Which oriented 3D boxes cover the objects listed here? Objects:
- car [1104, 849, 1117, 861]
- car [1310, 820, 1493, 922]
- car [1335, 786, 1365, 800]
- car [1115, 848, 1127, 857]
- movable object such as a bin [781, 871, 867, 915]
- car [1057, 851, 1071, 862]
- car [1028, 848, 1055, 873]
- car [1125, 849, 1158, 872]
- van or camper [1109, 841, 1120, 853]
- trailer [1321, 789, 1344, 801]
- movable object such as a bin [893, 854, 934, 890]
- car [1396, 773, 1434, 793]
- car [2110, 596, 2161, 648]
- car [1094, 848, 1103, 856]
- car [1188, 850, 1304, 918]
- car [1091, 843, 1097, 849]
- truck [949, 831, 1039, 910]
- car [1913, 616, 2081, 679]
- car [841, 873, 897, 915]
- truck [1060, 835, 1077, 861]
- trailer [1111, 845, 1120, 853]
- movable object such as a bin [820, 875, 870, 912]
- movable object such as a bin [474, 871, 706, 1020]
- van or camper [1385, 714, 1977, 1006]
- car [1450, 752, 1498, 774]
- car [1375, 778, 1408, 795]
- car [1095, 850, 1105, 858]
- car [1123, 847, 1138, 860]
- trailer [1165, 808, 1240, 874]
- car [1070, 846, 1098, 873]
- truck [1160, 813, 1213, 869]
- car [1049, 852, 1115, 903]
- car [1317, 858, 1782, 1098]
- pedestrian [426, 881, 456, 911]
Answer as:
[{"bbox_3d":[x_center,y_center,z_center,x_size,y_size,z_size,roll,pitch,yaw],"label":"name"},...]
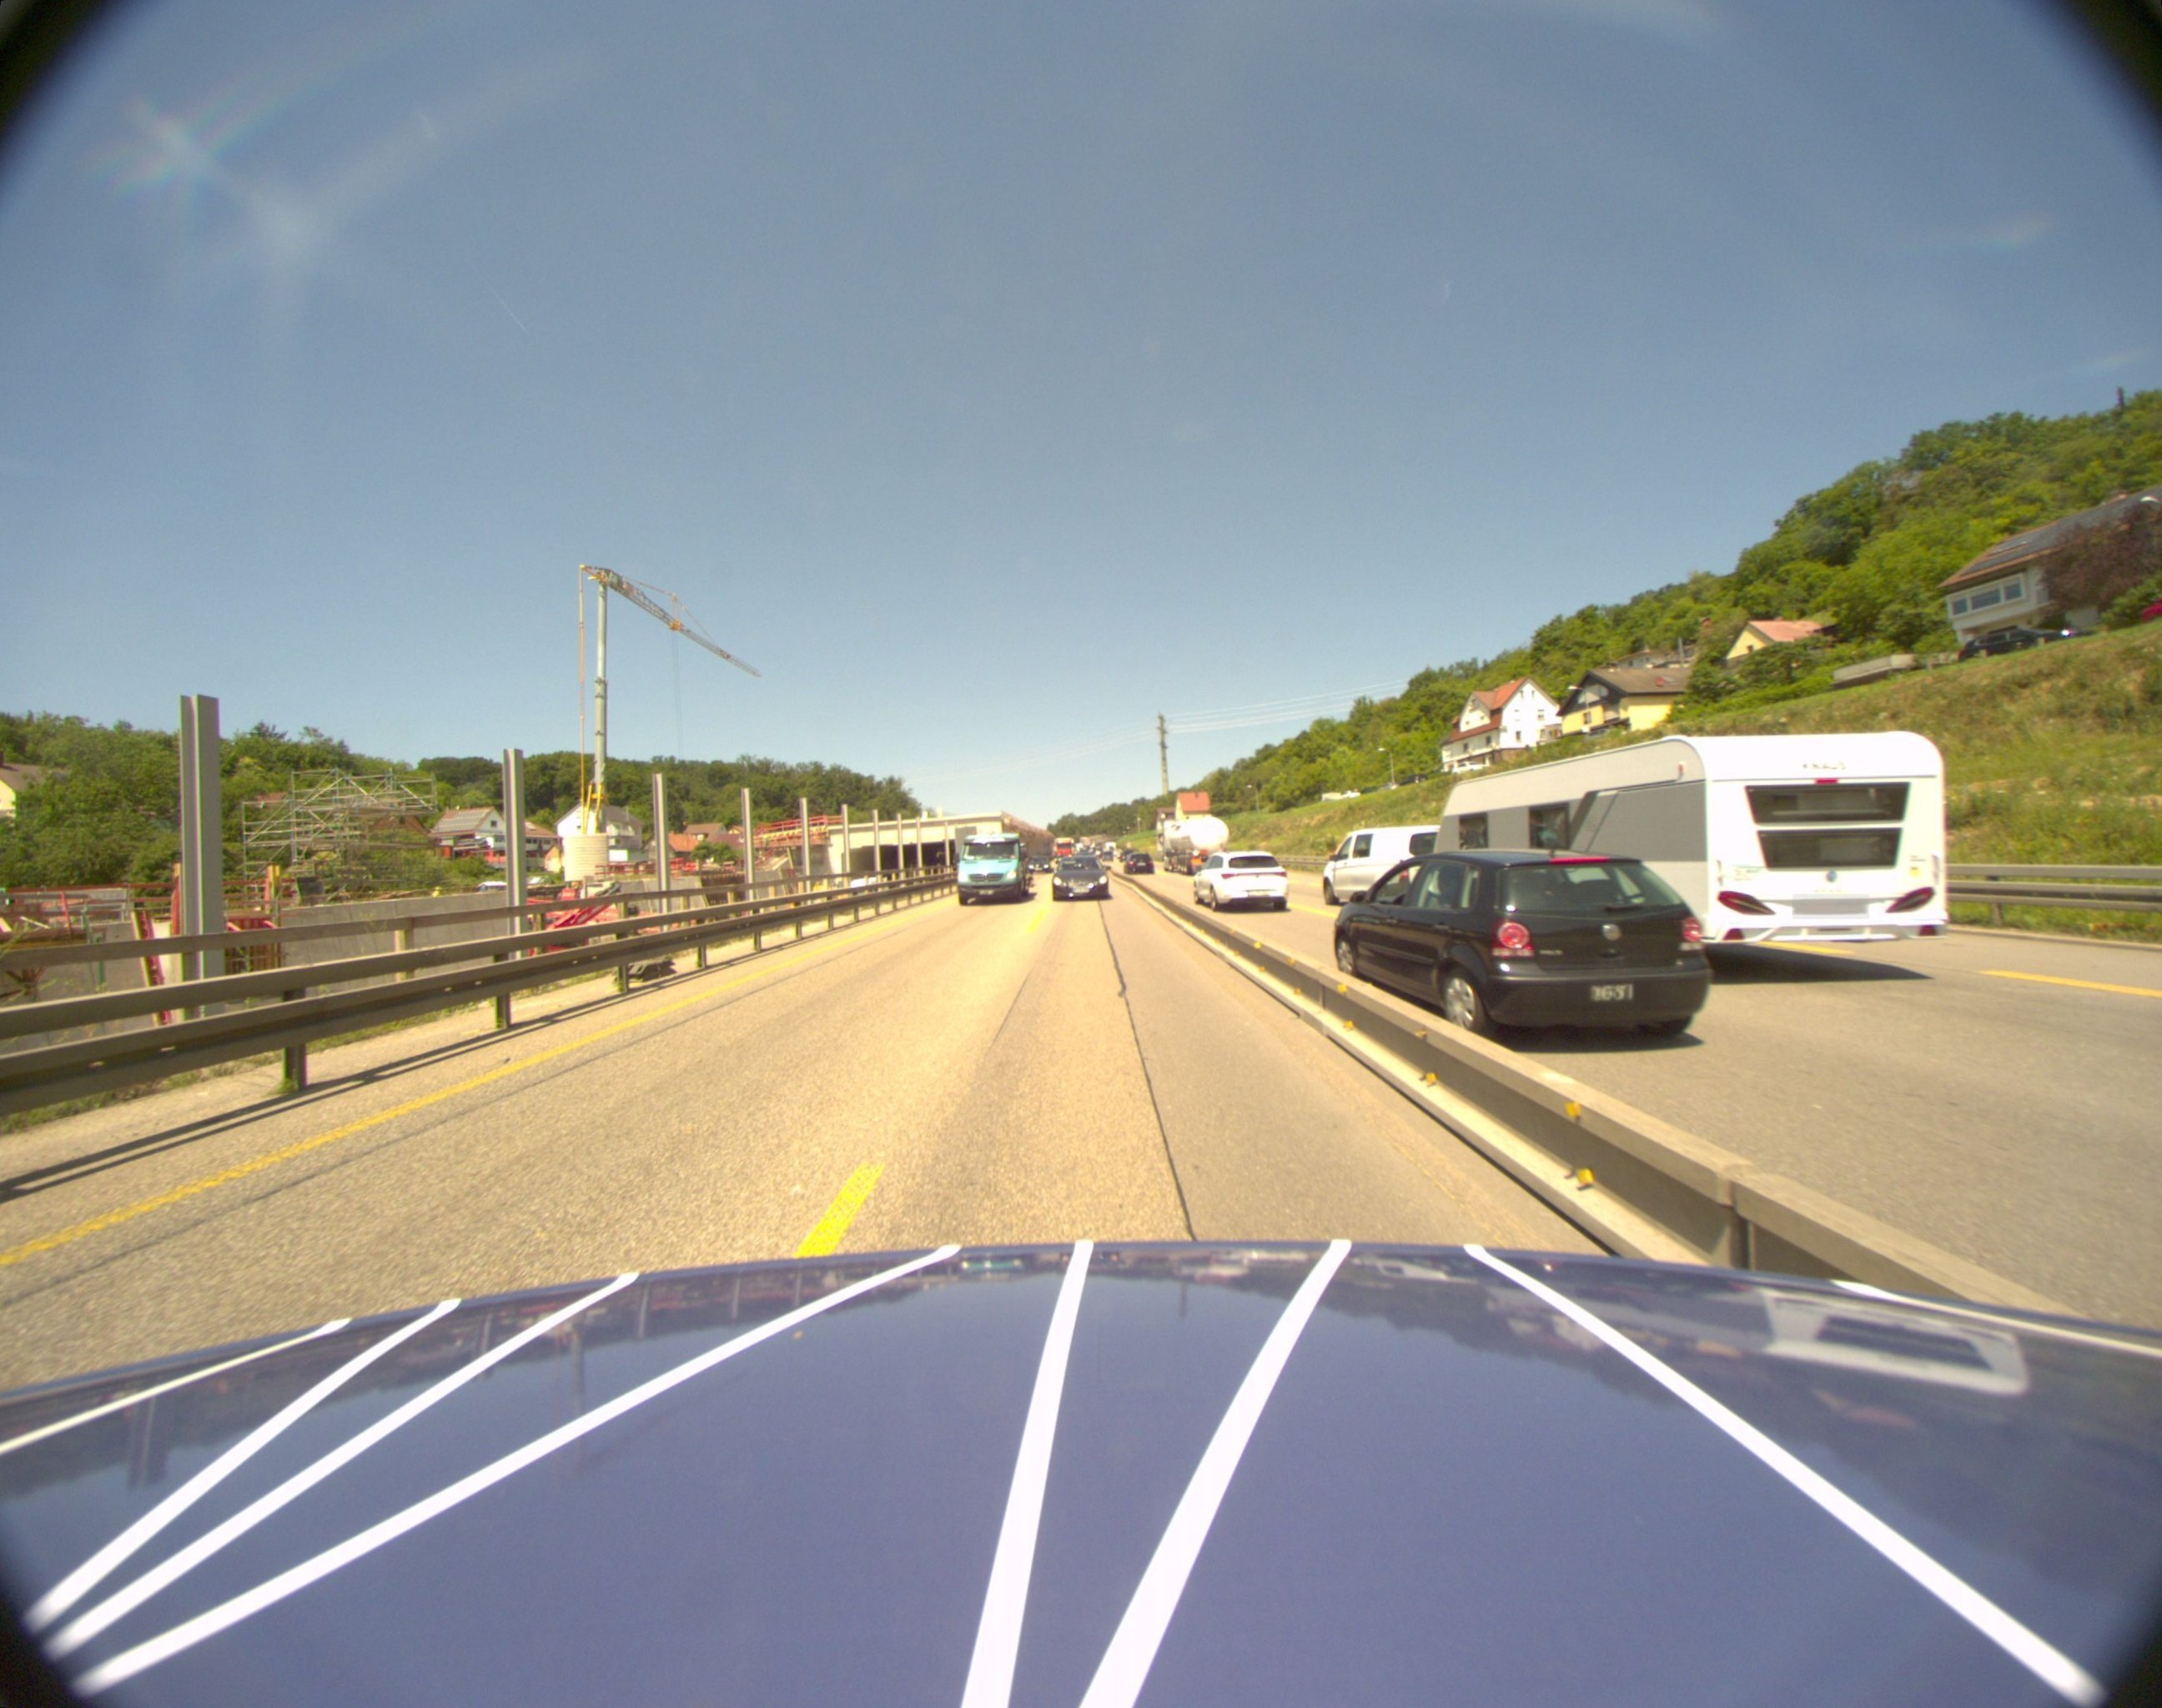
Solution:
[{"bbox_3d":[4.650,0.154,122.359,1.850,1.767,4.881,-2,1,0],"label":"car"},{"bbox_3d":[7.135,0.316,17.665,1.998,1.959,5.342,-2,0,0],"label":"car"},{"bbox_3d":[38.023,-8.619,107.396,2.000,1.646,4.548,-2,2,-9],"label":"car"},{"bbox_3d":[7.264,-0.320,136.758,1.808,1.488,4.599,-2,0,-1],"label":"car"},{"bbox_3d":[-25.256,3.833,74.744,7.141,2.883,3.503,-11,-2,23],"label":"movable object such as a bin"},{"bbox_3d":[-2.606,0.405,116.287,1.883,1.533,4.280,-2,2,0],"label":"car"},{"bbox_3d":[-3.209,0.477,62.112,1.885,1.806,4.249,-2,2,0],"label":"car"},{"bbox_3d":[4.041,0.419,51.693,1.899,1.406,4.679,-2,0,1],"label":"car"},{"bbox_3d":[8.727,-1.868,198.882,2.297,3.049,6.923,-2,1,0],"label":"van or camper"},{"bbox_3d":[37.233,-8.727,112.579,1.908,1.507,3.034,-3,2,-10],"label":"trailer"},{"bbox_3d":[-21.135,2.141,96.452,2.961,4.040,9.153,-2,2,0],"label":"movable object such as a bin"},{"bbox_3d":[40.275,-8.602,91.850,2.077,1.997,4.969,-2,2,-5],"label":"car"},{"bbox_3d":[45.816,-9.783,30.542,2.354,1.784,4.799,-2,2,-3],"label":"car"},{"bbox_3d":[3.693,-0.378,164.359,1.811,1.630,4.171,-2,1,-1],"label":"car"},{"bbox_3d":[4.040,0.654,19.432,1.917,1.471,4.636,-2,0,0],"label":"car"},{"bbox_3d":[4.061,-2.366,236.641,1.842,1.817,5.039,-2,1,0],"label":"car"},{"bbox_3d":[-2.864,0.393,26.945,2.139,2.344,7.431,-2,2,1],"label":"truck"},{"bbox_3d":[44.015,-9.884,36.701,2.185,1.784,4.759,-2,2,-6],"label":"car"},{"bbox_3d":[-17.492,3.202,63.175,2.150,2.840,7.022,-2,2,4],"label":"car"},{"bbox_3d":[-2.240,-1.147,136.194,2.750,4.222,9.092,-2,2,0],"label":"truck"},{"bbox_3d":[8.700,-1.206,193.031,2.107,1.883,5.140,-2,1,0],"label":"trailer"},{"bbox_3d":[-20.260,3.334,65.492,2.149,2.661,5.500,-2,2,5],"label":"movable object such as a bin"},{"bbox_3d":[-19.846,3.368,31.873,3.235,4.716,9.652,-2,2,0],"label":"movable object such as a bin"},{"bbox_3d":[7.185,0.037,11.023,2.363,2.660,7.857,-2,0,0],"label":"van or camper"},{"bbox_3d":[41.307,-9.568,80.066,2.000,1.784,5.007,-2,2,-6],"label":"car"},{"bbox_3d":[39.561,-8.582,96.941,1.999,1.861,4.427,-2,2,-5],"label":"car"},{"bbox_3d":[3.612,-0.072,145.352,1.802,1.458,4.354,-1,1,0],"label":"car"},{"bbox_3d":[6.975,-0.135,107.818,1.832,1.755,4.496,-1,1,0],"label":"car"},{"bbox_3d":[7.414,-0.771,48.211,2.723,3.573,11.793,-2,0,0],"label":"trailer"},{"bbox_3d":[0.282,0.391,56.786,1.885,1.806,4.250,-2,2,2],"label":"car"},{"bbox_3d":[7.378,-0.872,53.969,2.786,3.651,6.276,-2,0,0],"label":"truck"},{"bbox_3d":[0.060,0.719,25.887,1.998,1.441,4.601,-2,1,1],"label":"car"},{"bbox_3d":[3.551,0.790,6.691,1.670,1.405,3.817,-2,0,-1],"label":"car"},{"bbox_3d":[-45.042,2.930,53.463,1.140,1.976,0.972,-2,2,4],"label":"pedestrian"}]
